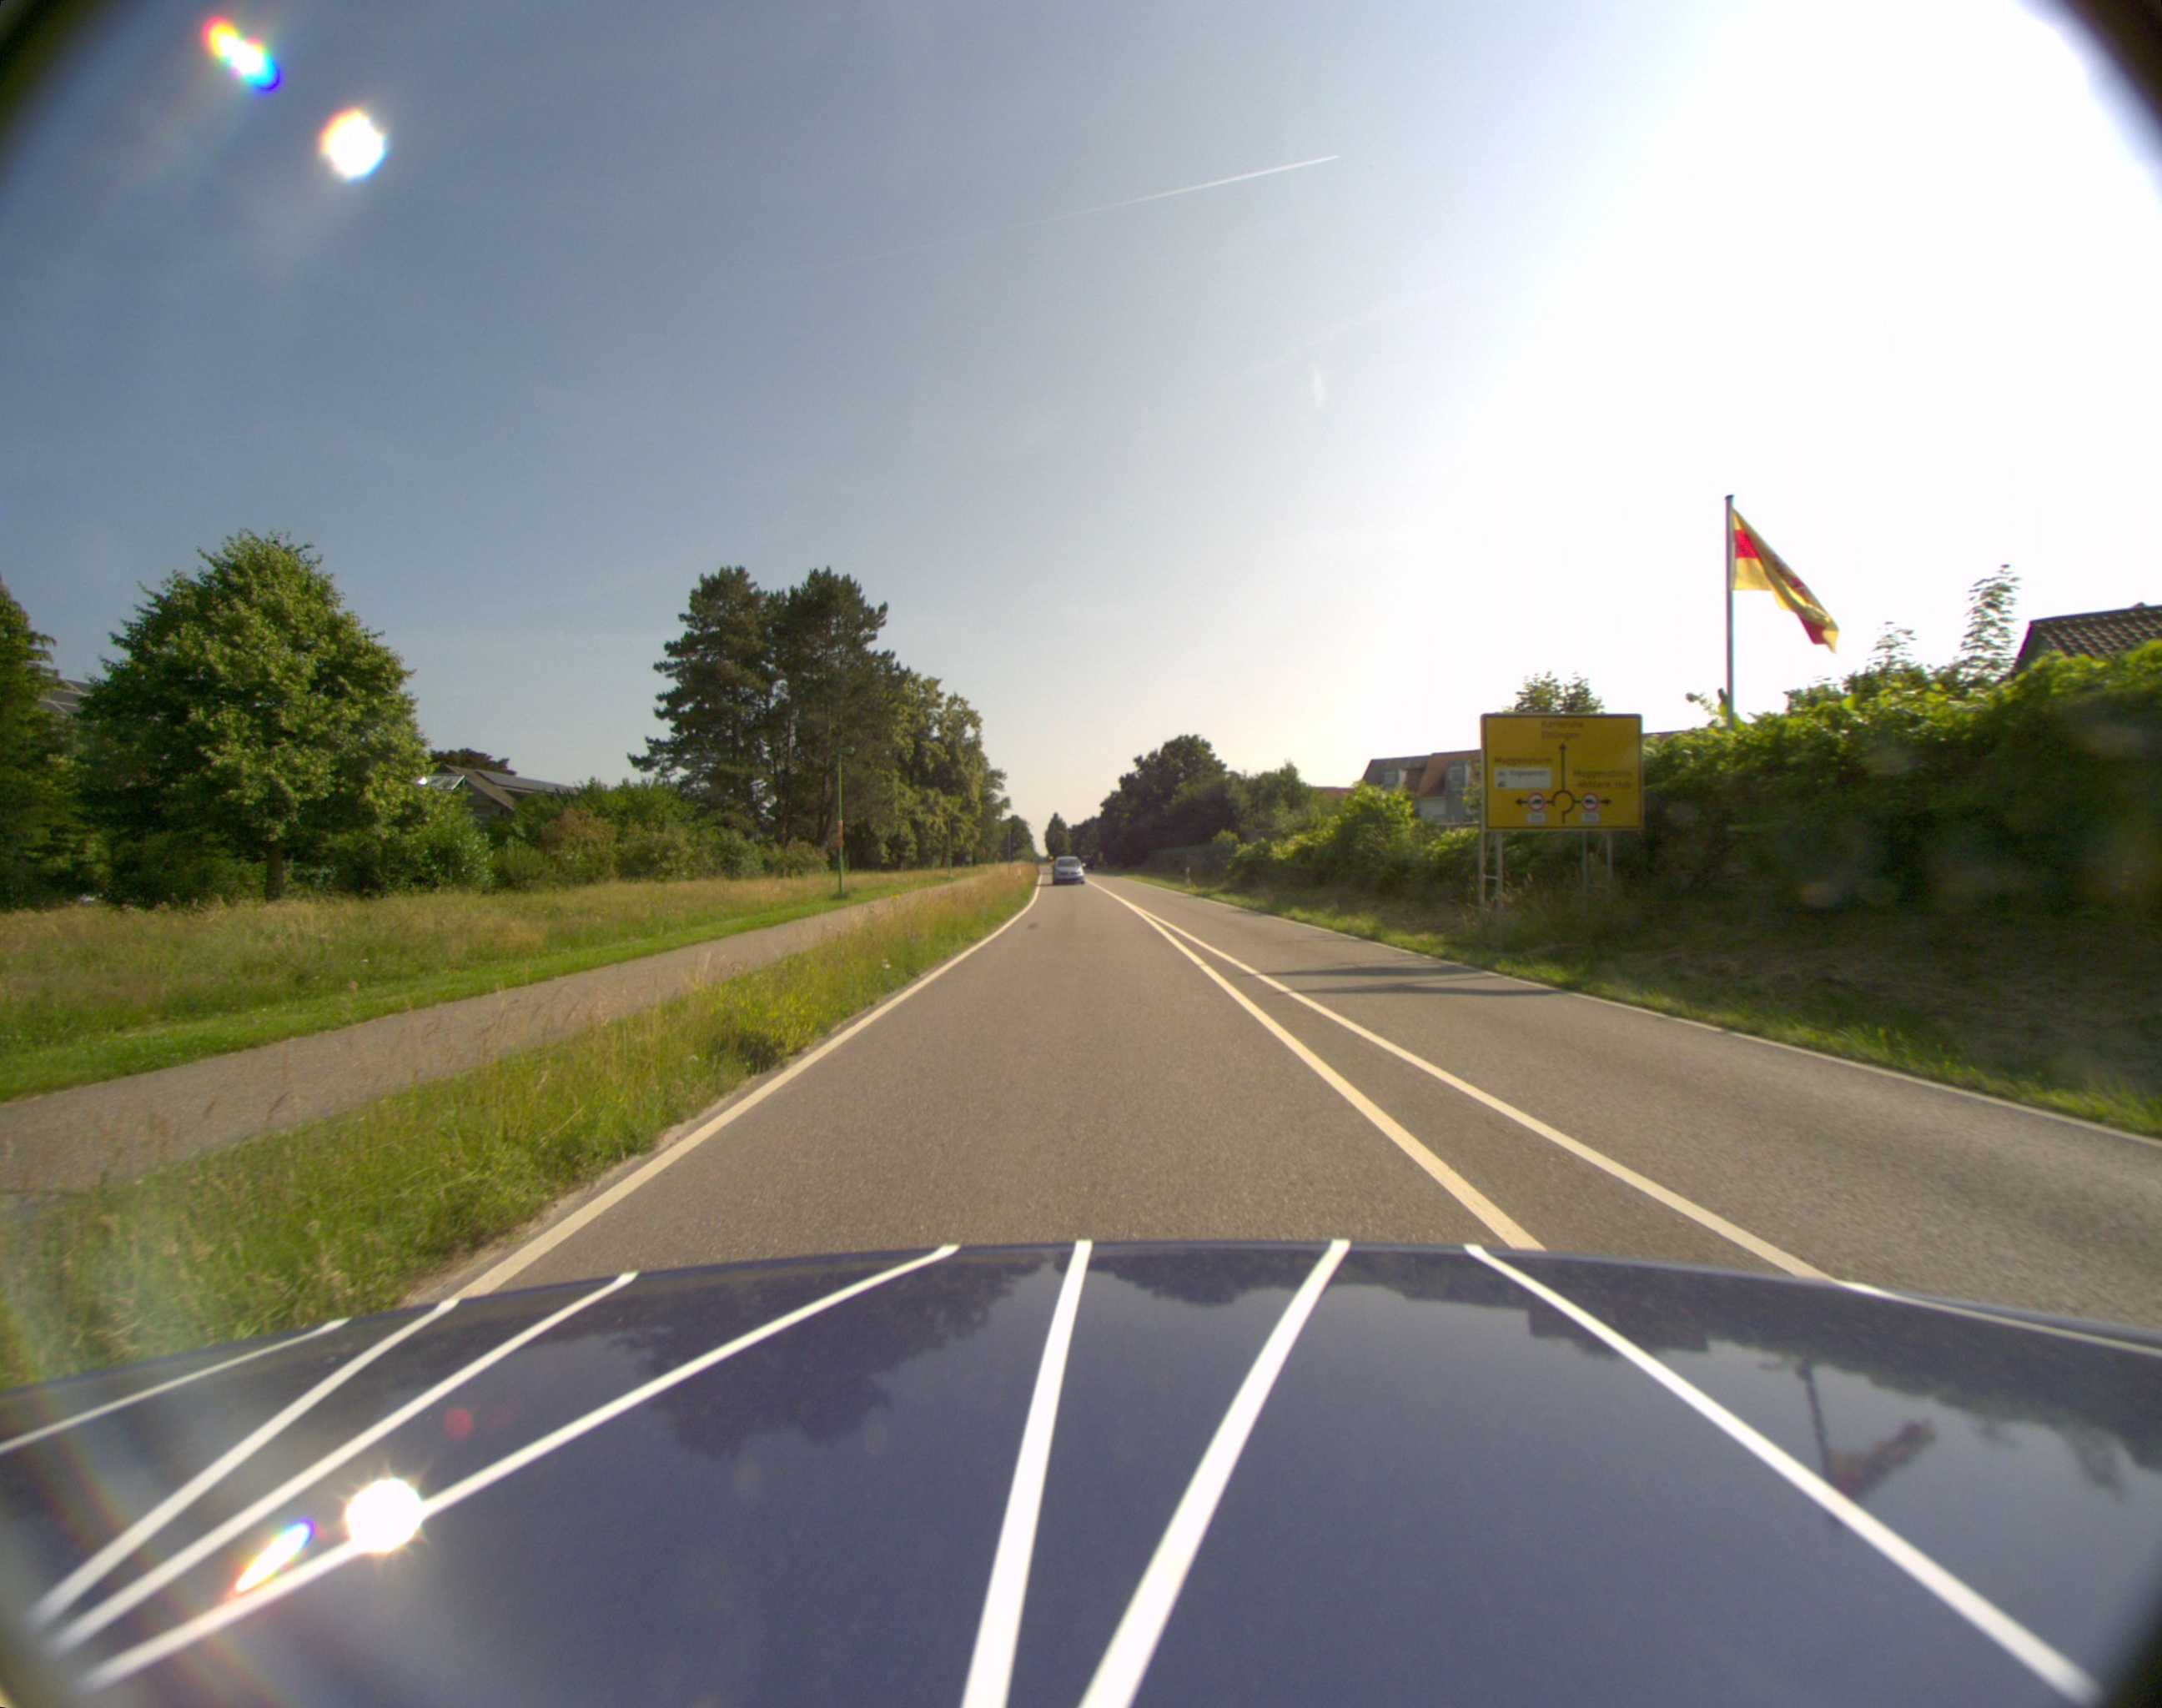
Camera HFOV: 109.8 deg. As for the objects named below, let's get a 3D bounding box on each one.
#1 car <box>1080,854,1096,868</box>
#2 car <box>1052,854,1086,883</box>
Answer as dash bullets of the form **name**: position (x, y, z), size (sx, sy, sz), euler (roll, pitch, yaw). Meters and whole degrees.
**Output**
- **car**: position (0.885, 0.875, 96.957), size (1.944, 1.807, 4.241), euler (1, 0, 0)
- **car**: position (-0.734, 0.811, 43.715), size (1.809, 1.592, 4.268), euler (-1, 0, -3)
